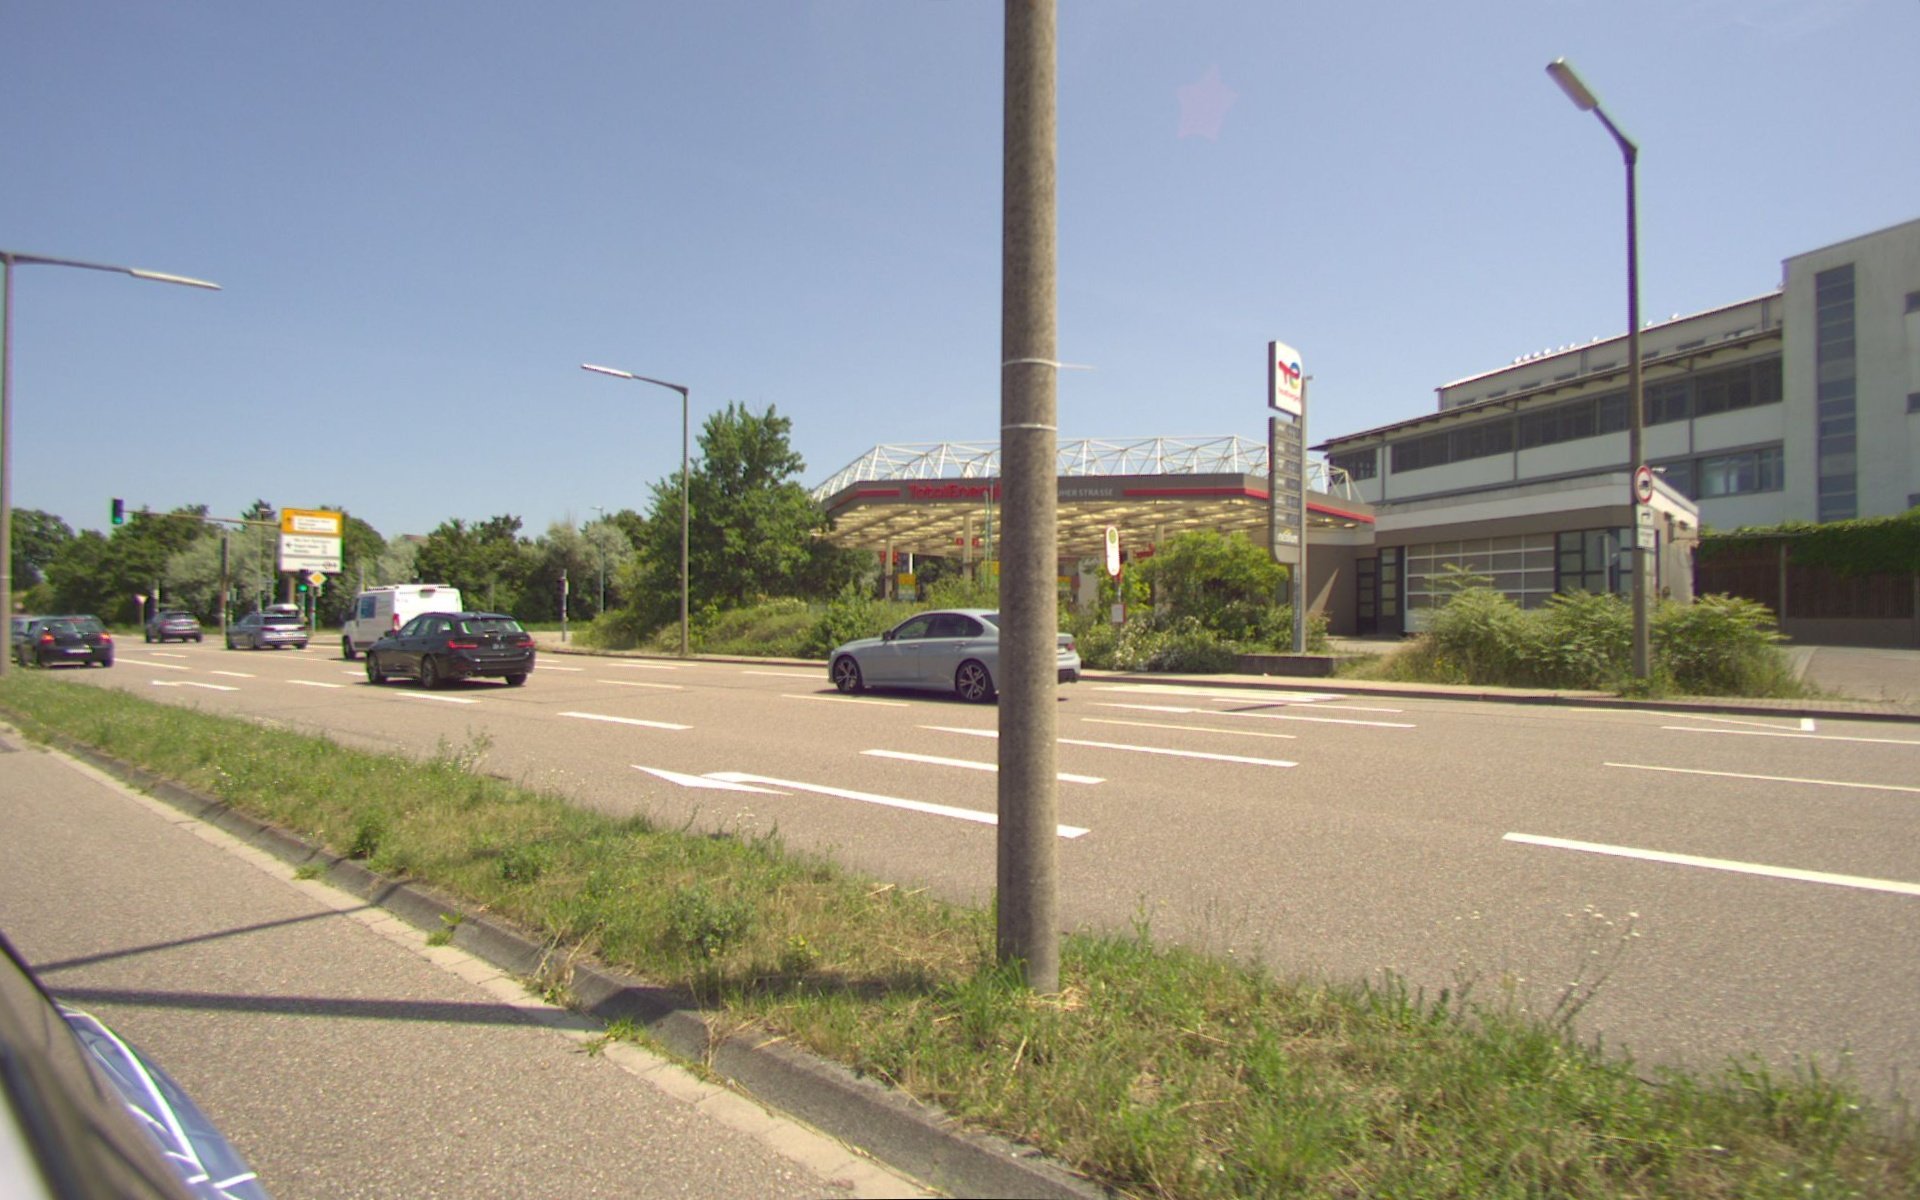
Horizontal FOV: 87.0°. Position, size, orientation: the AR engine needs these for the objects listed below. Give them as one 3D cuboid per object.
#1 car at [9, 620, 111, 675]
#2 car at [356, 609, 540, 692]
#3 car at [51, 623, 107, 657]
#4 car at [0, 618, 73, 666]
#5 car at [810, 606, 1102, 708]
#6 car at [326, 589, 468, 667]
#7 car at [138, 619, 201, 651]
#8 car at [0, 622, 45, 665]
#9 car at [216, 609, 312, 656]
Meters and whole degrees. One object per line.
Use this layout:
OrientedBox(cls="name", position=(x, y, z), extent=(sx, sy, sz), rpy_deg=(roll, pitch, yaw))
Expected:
OrientedBox(cls="car", position=(-25.638, 1.293, 28.777), extent=(4.189, 1.445, 1.658), rpy_deg=(-1, -1, 41))
OrientedBox(cls="car", position=(-10.304, 0.951, 20.220), extent=(4.562, 1.469, 1.712), rpy_deg=(-1, -2, 42))
OrientedBox(cls="car", position=(-40.640, 1.819, 46.667), extent=(3.502, 1.456, 1.432), rpy_deg=(-1, -1, 40))
OrientedBox(cls="car", position=(-29.942, 1.333, 32.519), extent=(3.849, 1.434, 1.545), rpy_deg=(-2, -1, 39))
OrientedBox(cls="car", position=(-0.187, 0.877, 16.759), extent=(4.848, 1.460, 1.812), rpy_deg=(-1, -2, 40))
OrientedBox(cls="car", position=(-17.923, 0.840, 32.105), extent=(5.446, 2.290, 2.226), rpy_deg=(-1, 0, 41))
OrientedBox(cls="car", position=(-39.798, 1.737, 50.898), extent=(3.995, 1.551, 1.642), rpy_deg=(-1, -1, 39))
OrientedBox(cls="car", position=(-34.996, 1.555, 37.017), extent=(3.995, 1.502, 1.642), rpy_deg=(-1, -2, 39))
OrientedBox(cls="car", position=(-27.963, 1.265, 40.572), extent=(5.018, 1.763, 1.945), rpy_deg=(-1, -1, 40))
